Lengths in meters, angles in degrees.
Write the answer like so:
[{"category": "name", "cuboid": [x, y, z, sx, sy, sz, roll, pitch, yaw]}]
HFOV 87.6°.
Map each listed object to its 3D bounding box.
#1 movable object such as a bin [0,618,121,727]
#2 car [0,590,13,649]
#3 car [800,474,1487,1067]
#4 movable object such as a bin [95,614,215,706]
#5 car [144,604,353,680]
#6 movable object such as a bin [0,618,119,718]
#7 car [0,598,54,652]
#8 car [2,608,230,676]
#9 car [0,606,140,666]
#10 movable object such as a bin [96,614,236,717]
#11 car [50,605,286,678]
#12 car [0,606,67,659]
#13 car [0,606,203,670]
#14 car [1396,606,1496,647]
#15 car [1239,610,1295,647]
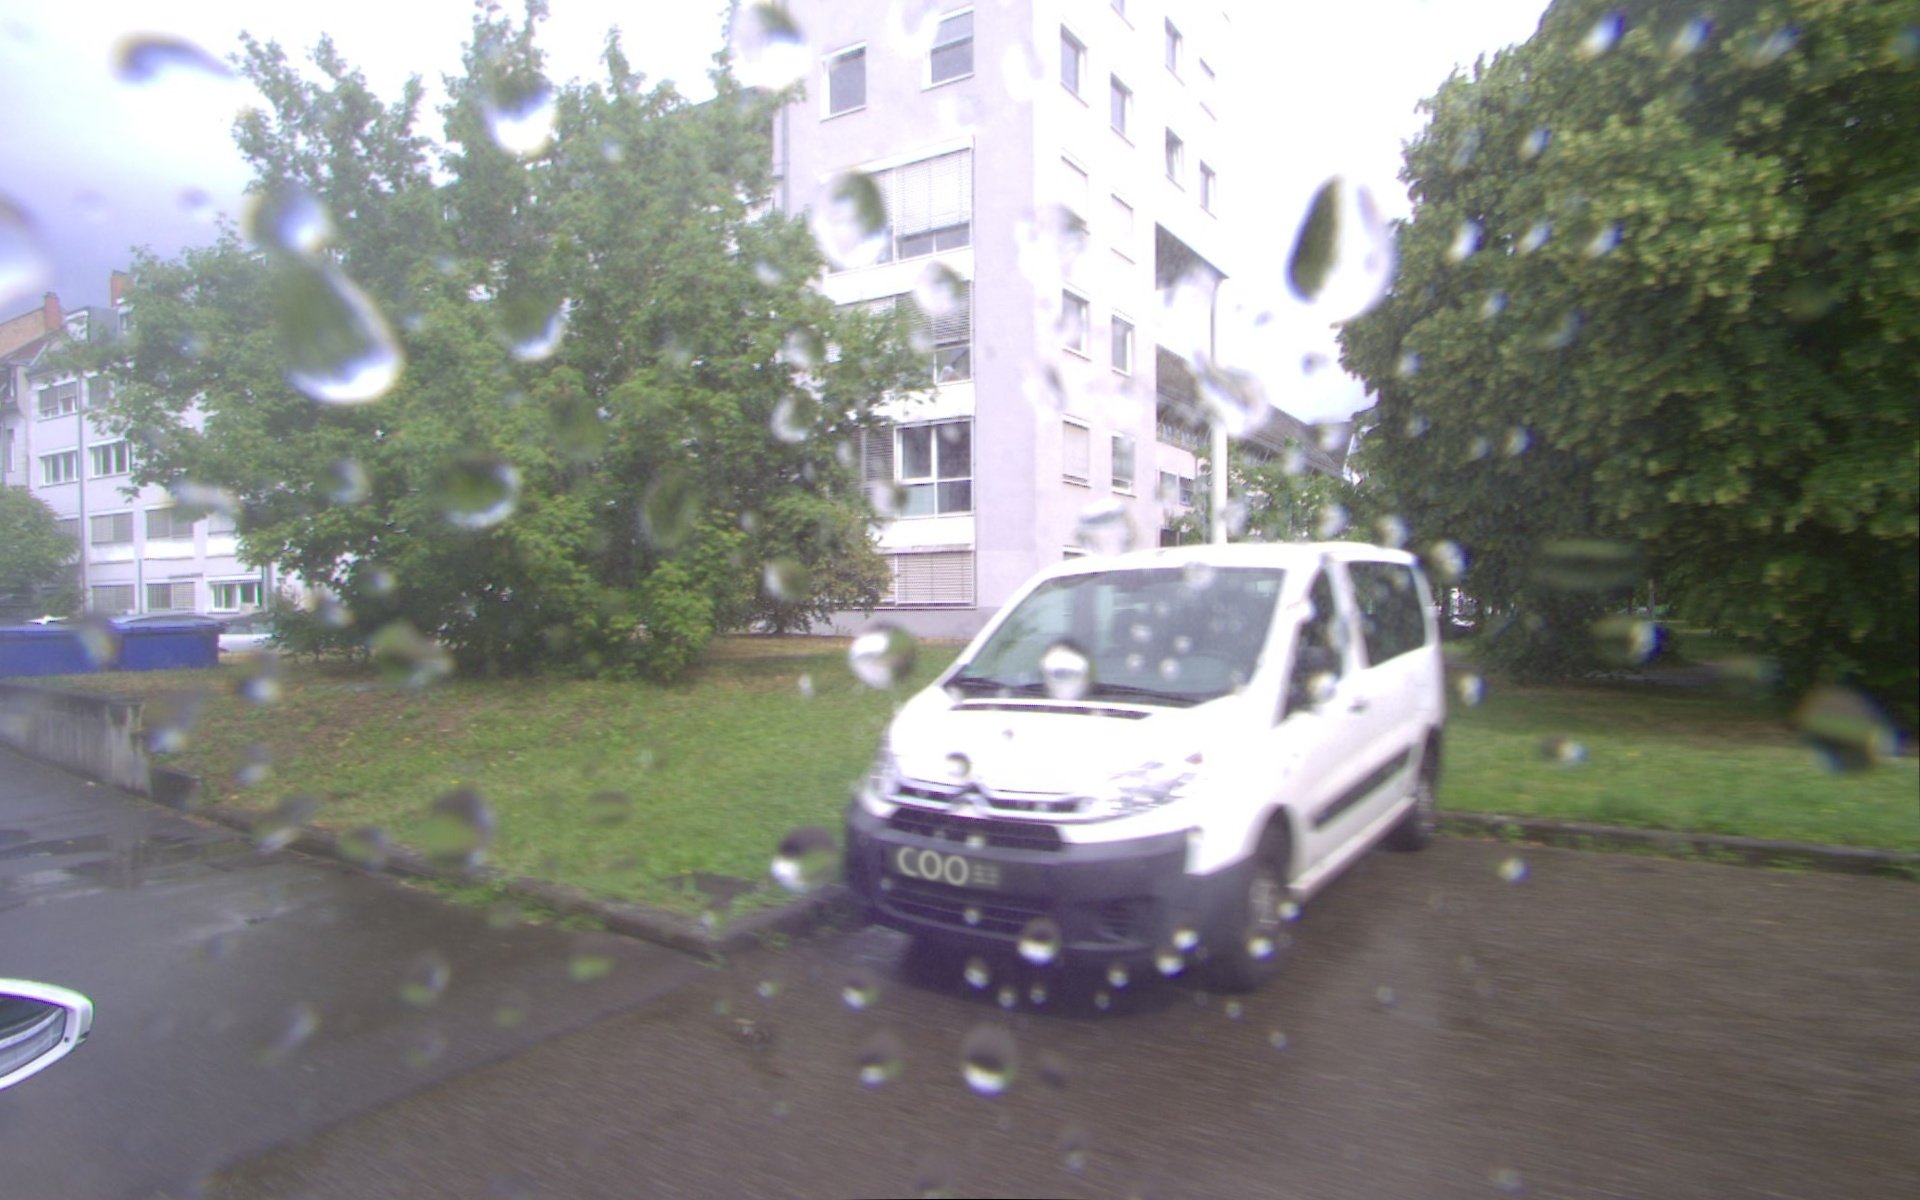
[{"category": "movable object such as a bin", "cuboid": [-12.006, 0.913, 13.115, 1.081, 1.309, 1.332, 1, 2, 37]}, {"category": "car", "cuboid": [-34.781, 0.706, 33.025, 2.188, 2.030, 4.635, 0, 1, 24]}, {"category": "car", "cuboid": [1.535, 0.626, 5.886, 2.072, 1.950, 4.858, -1, -2, 36]}, {"category": "movable object such as a bin", "cuboid": [-12.483, 0.900, 15.546, 1.092, 1.322, 1.182, 0, 1, 35]}, {"category": "car", "cuboid": [-15.792, 0.874, 22.377, 1.664, 1.446, 3.407, -1, 1, 32]}, {"category": "movable object such as a bin", "cuboid": [-13.170, 0.944, 14.444, 1.069, 1.322, 1.367, 0, 1, 36]}, {"category": "car", "cuboid": [-31.992, 0.851, 32.173, 1.792, 1.710, 3.899, -1, 1, 33]}, {"category": "car", "cuboid": [-20.933, 0.972, 25.022, 1.746, 1.422, 3.980, 0, 2, 30]}, {"category": "car", "cuboid": [-25.730, 0.980, 28.006, 1.791, 1.534, 3.905, -1, 1, 27]}, {"category": "movable object such as a bin", "cuboid": [-11.290, 0.890, 14.257, 1.181, 1.354, 1.288, 0, 1, 37]}, {"category": "car", "cuboid": [-18.592, 0.911, 23.690, 1.780, 1.465, 3.979, 0, 1, 31]}, {"category": "car", "cuboid": [-29.738, 1.009, 30.130, 1.726, 1.534, 3.903, -1, 1, 29]}, {"category": "car", "cuboid": [-22.841, 0.951, 26.608, 1.746, 1.478, 3.981, -1, 0, 29]}, {"category": "car", "cuboid": [26.264, 1.404, 54.205, 4.524, 1.967, 2.038, 2, 2, 37]}, {"category": "car", "cuboid": [17.396, 1.563, 56.576, 1.971, 1.814, 4.211, 2, 2, 32]}]
